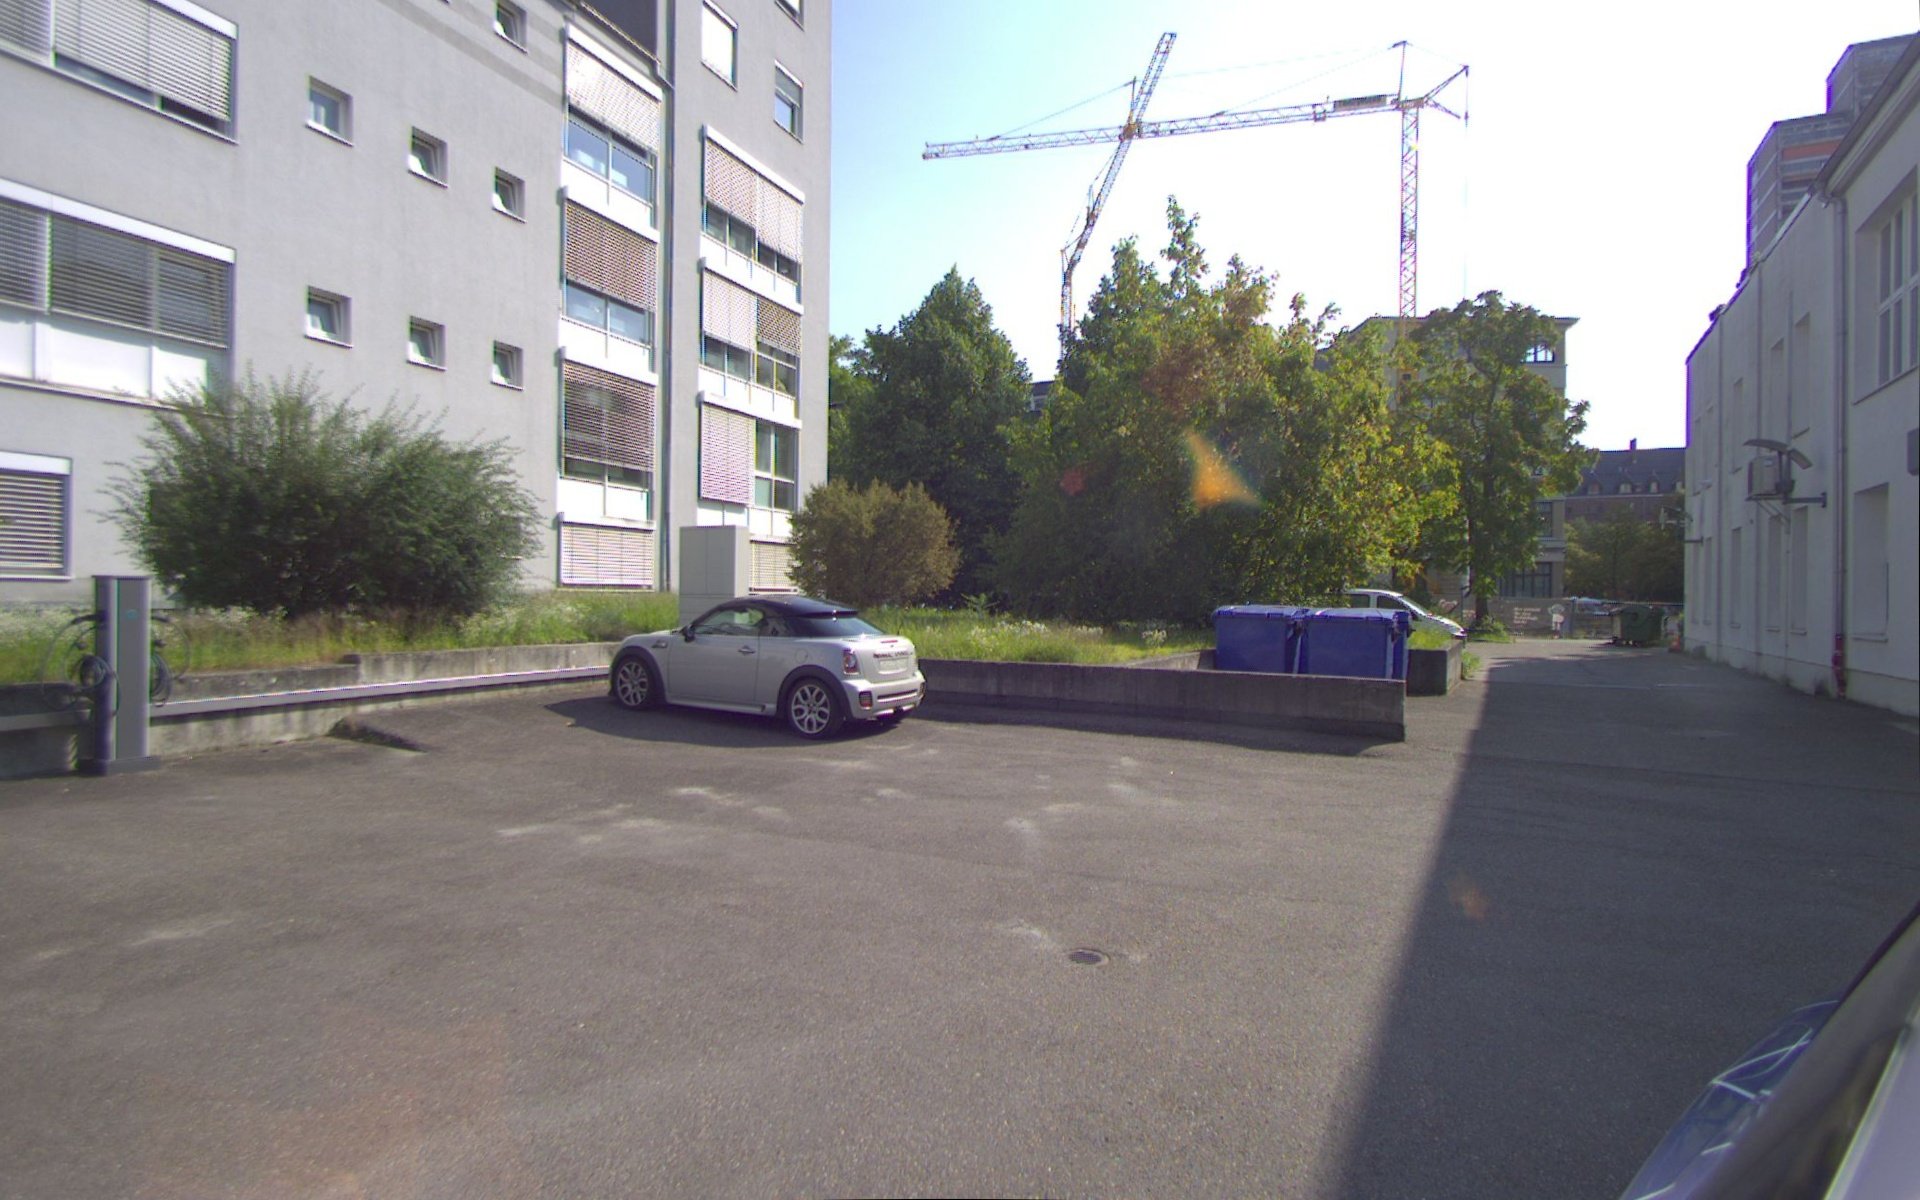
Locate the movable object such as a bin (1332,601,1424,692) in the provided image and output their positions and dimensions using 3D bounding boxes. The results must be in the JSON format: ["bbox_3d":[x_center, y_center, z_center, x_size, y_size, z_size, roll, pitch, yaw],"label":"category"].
[{"bbox_3d":[6.573,0.694,15.881,1.191,1.344,1.261,0,0,30],"label":"movable object such as a bin"}]

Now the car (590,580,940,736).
[{"bbox_3d":[-2.171,0.543,11.199,3.547,1.456,1.643,1,0,27],"label":"car"}]

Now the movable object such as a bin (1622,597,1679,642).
[{"bbox_3d":[23.524,0.636,34.508,1.513,1.484,1.261,0,0,31],"label":"movable object such as a bin"}]

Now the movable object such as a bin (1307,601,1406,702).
[{"bbox_3d":[5.727,0.698,14.577,1.203,1.368,1.262,0,0,28],"label":"movable object such as a bin"}]

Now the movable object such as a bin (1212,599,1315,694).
[{"bbox_3d":[4.595,0.667,15.280,1.247,1.344,1.261,0,0,31],"label":"movable object such as a bin"}]

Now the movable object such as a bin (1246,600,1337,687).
[{"bbox_3d":[5.443,0.674,16.600,1.191,1.344,1.261,0,0,30],"label":"movable object such as a bin"}]

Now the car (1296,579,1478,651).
[{"bbox_3d":[12.617,0.395,30.013,4.757,1.956,1.887,1,0,32],"label":"car"}]
